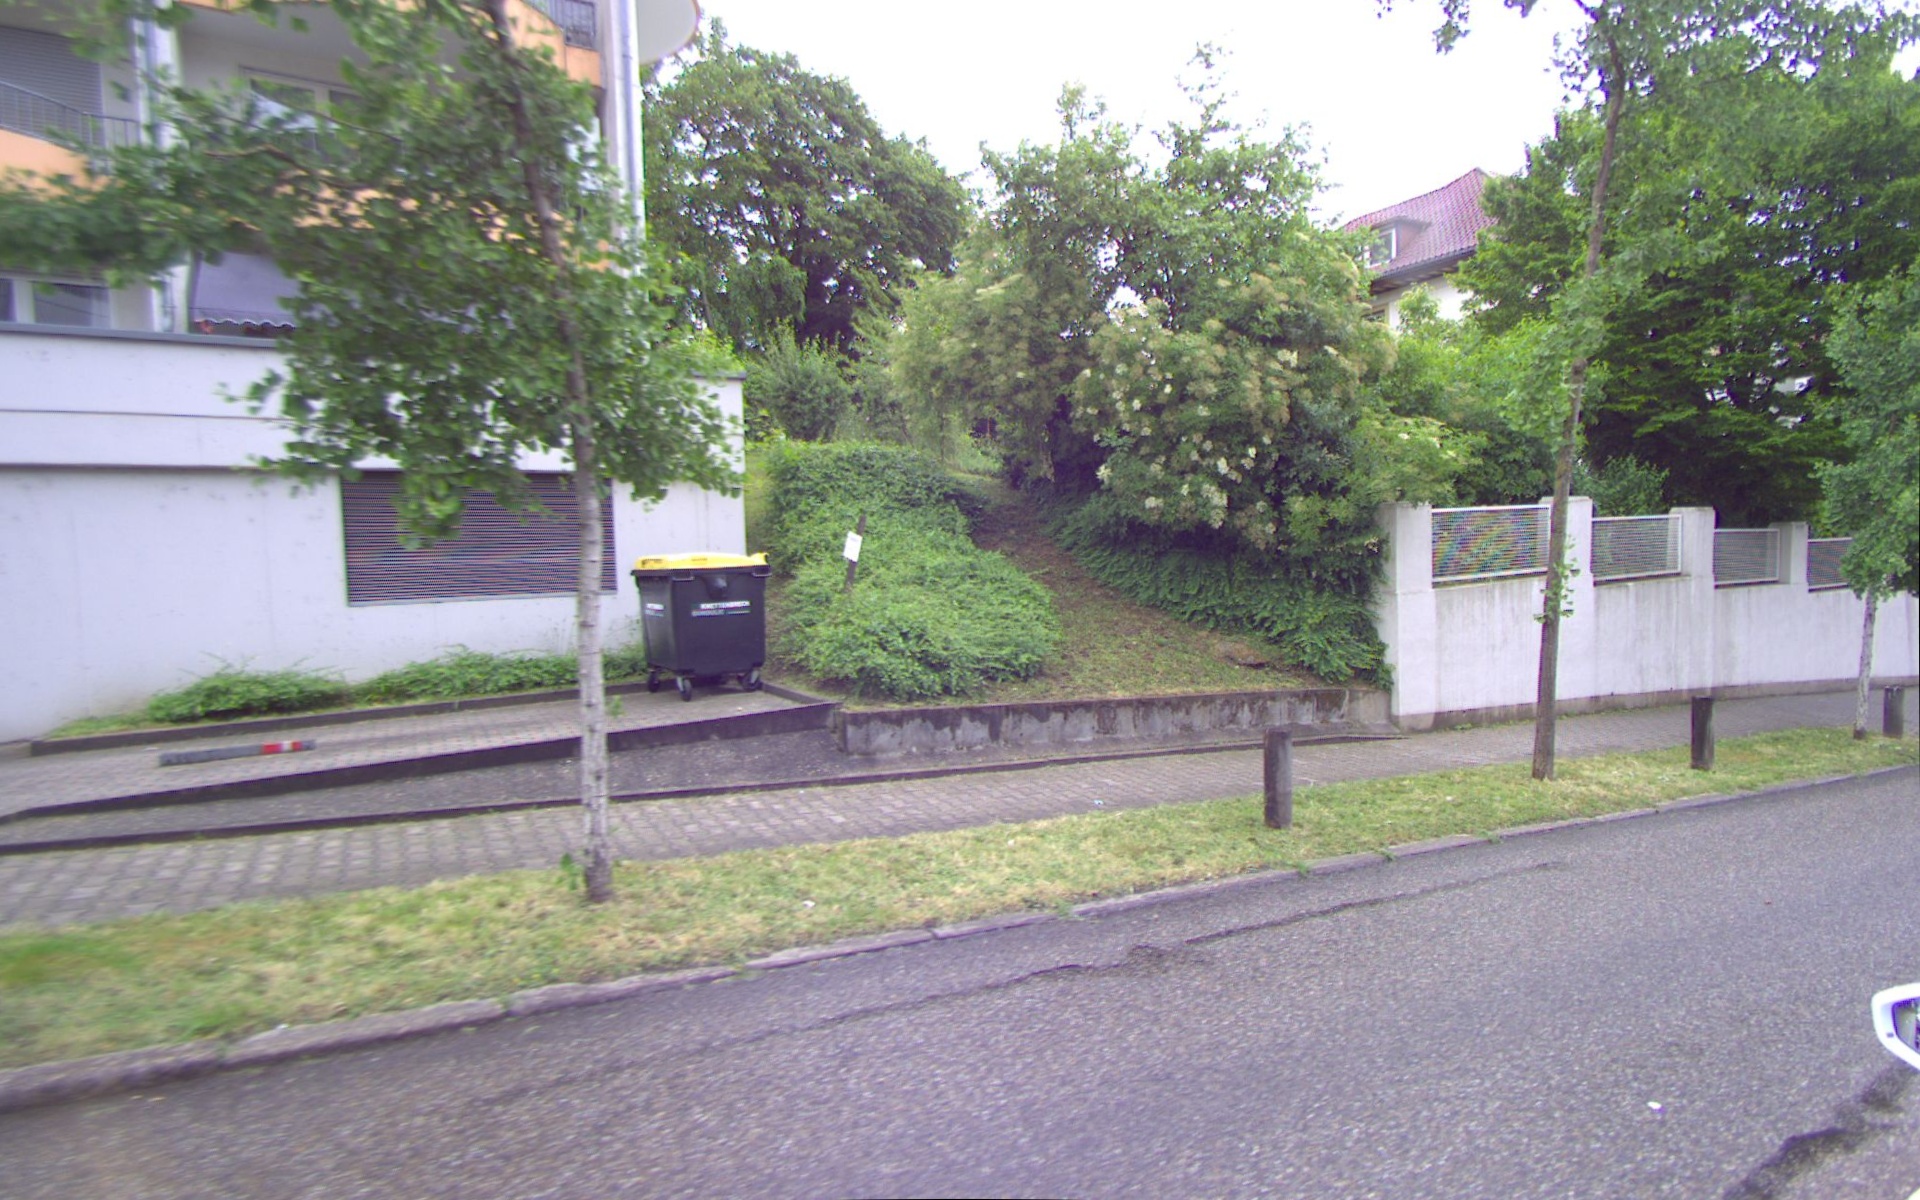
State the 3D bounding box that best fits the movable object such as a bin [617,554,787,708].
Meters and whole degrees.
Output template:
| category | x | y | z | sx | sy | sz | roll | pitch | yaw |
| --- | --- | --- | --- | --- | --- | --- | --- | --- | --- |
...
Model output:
| category | x | y | z | sx | sy | sz | roll | pitch | yaw |
| --- | --- | --- | --- | --- | --- | --- | --- | --- | --- |
| movable object such as a bin | -2.513 | 0.247 | 9.751 | 1.152 | 1.333 | 1.252 | -4 | 4 | -38 |
